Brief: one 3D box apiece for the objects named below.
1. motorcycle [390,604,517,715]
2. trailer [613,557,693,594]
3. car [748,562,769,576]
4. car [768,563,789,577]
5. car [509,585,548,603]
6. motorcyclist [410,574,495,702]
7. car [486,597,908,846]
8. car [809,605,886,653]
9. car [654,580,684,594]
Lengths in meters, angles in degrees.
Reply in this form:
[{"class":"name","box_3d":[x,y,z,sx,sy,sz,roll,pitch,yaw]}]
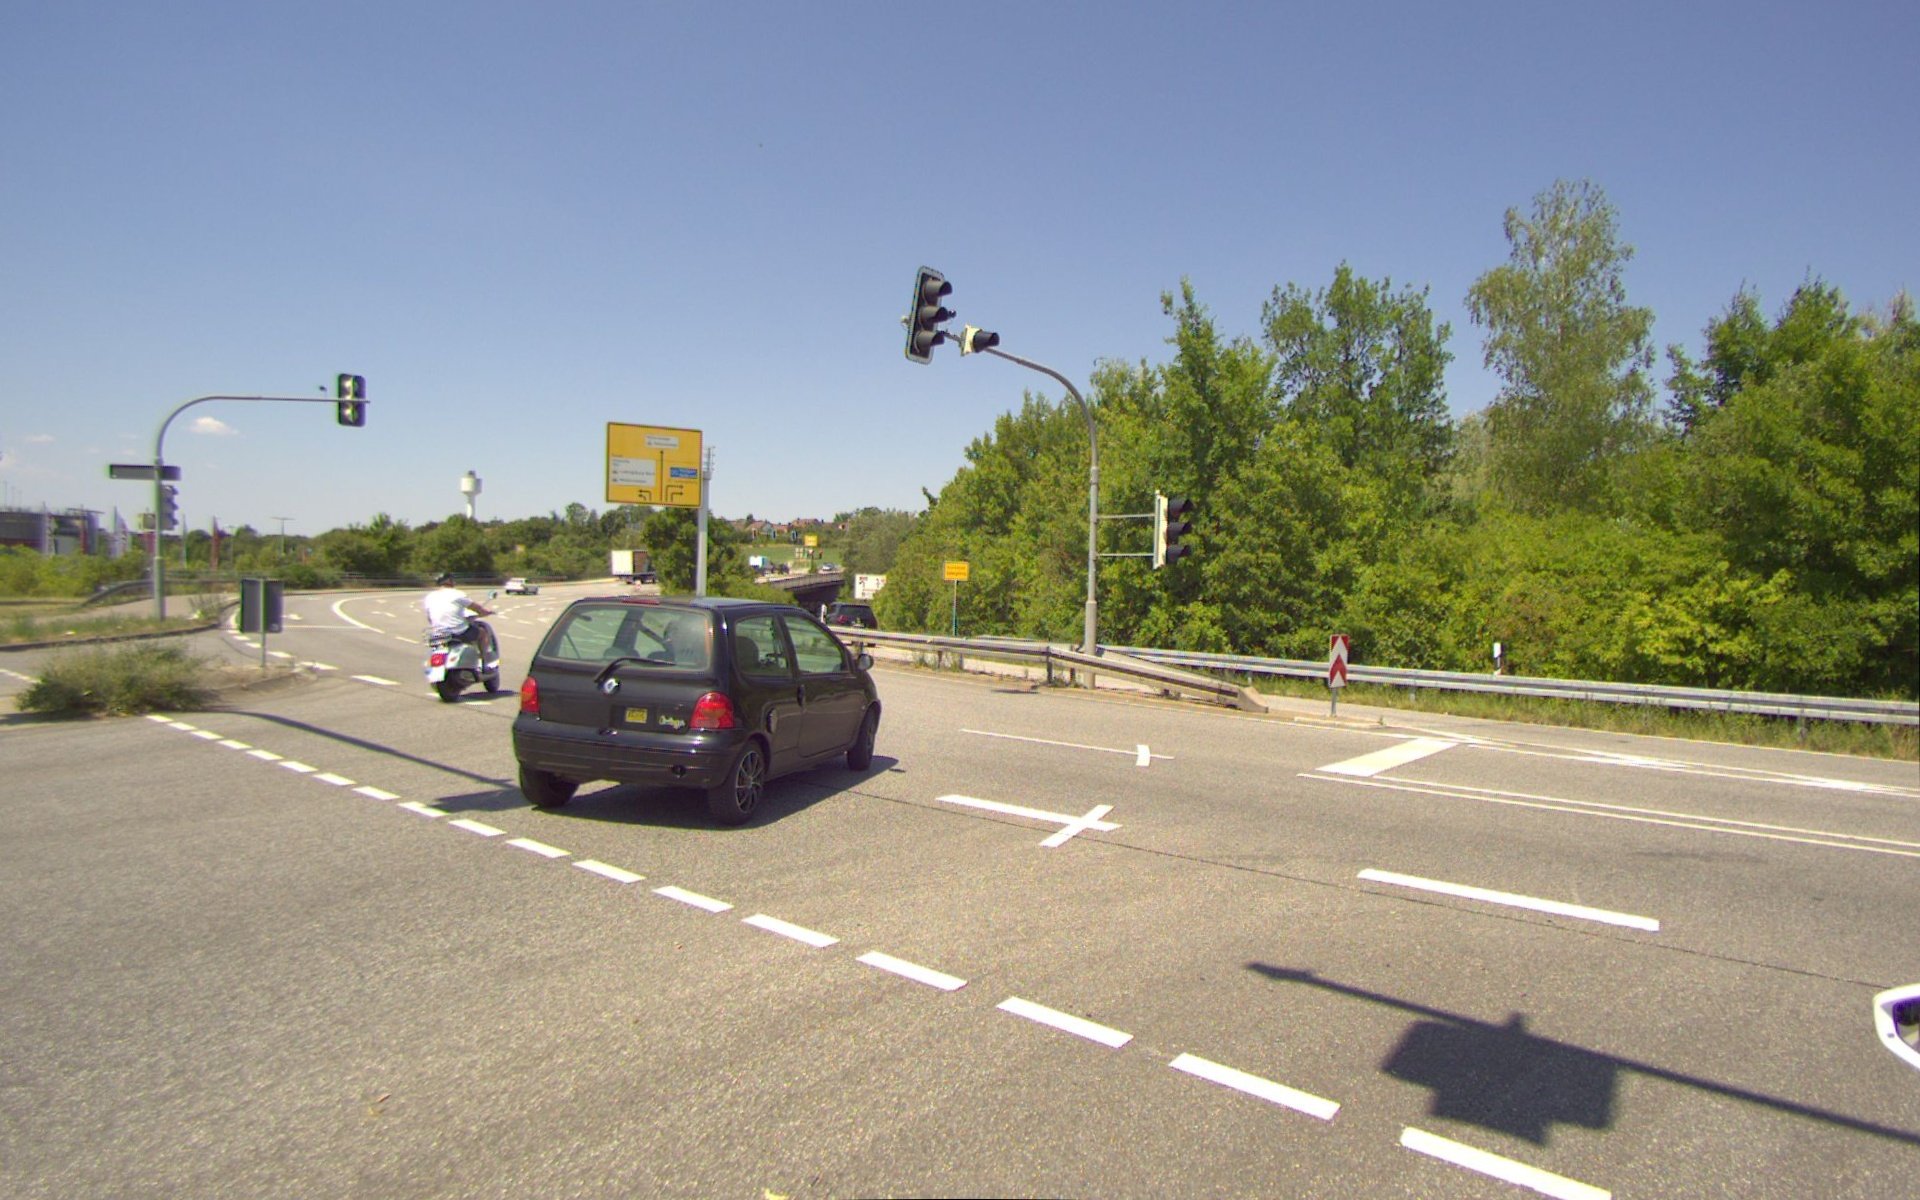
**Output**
[{"class":"motorcycle","box_3d":[-6.380,0.702,12.774,0.566,1.255,1.941,2,1,1]},{"class":"trailer","box_3d":[-37.954,-3.159,125.177,3.176,4.306,15.413,2,2,8]},{"class":"car","box_3d":[-30.792,-4.679,153.586,1.959,2.041,4.002,1,1,8]},{"class":"car","box_3d":[-27.608,-4.550,153.012,1.959,2.041,4.002,1,1,8]},{"class":"car","box_3d":[-38.499,-0.496,89.685,1.615,1.413,3.991,4,-1,0]},{"class":"motorcyclist","box_3d":[-6.489,0.463,12.884,0.601,1.560,0.847,2,1,1]},{"class":"car","box_3d":[-1.697,0.758,7.589,1.592,1.425,3.302,0,-2,16]},{"class":"car","box_3d":[-4.512,1.109,39.781,1.877,1.653,4.254,5,-2,-21]},{"class":"car","box_3d":[-34.917,-1.569,120.677,1.775,1.452,3.931,3,-1,11]}]
